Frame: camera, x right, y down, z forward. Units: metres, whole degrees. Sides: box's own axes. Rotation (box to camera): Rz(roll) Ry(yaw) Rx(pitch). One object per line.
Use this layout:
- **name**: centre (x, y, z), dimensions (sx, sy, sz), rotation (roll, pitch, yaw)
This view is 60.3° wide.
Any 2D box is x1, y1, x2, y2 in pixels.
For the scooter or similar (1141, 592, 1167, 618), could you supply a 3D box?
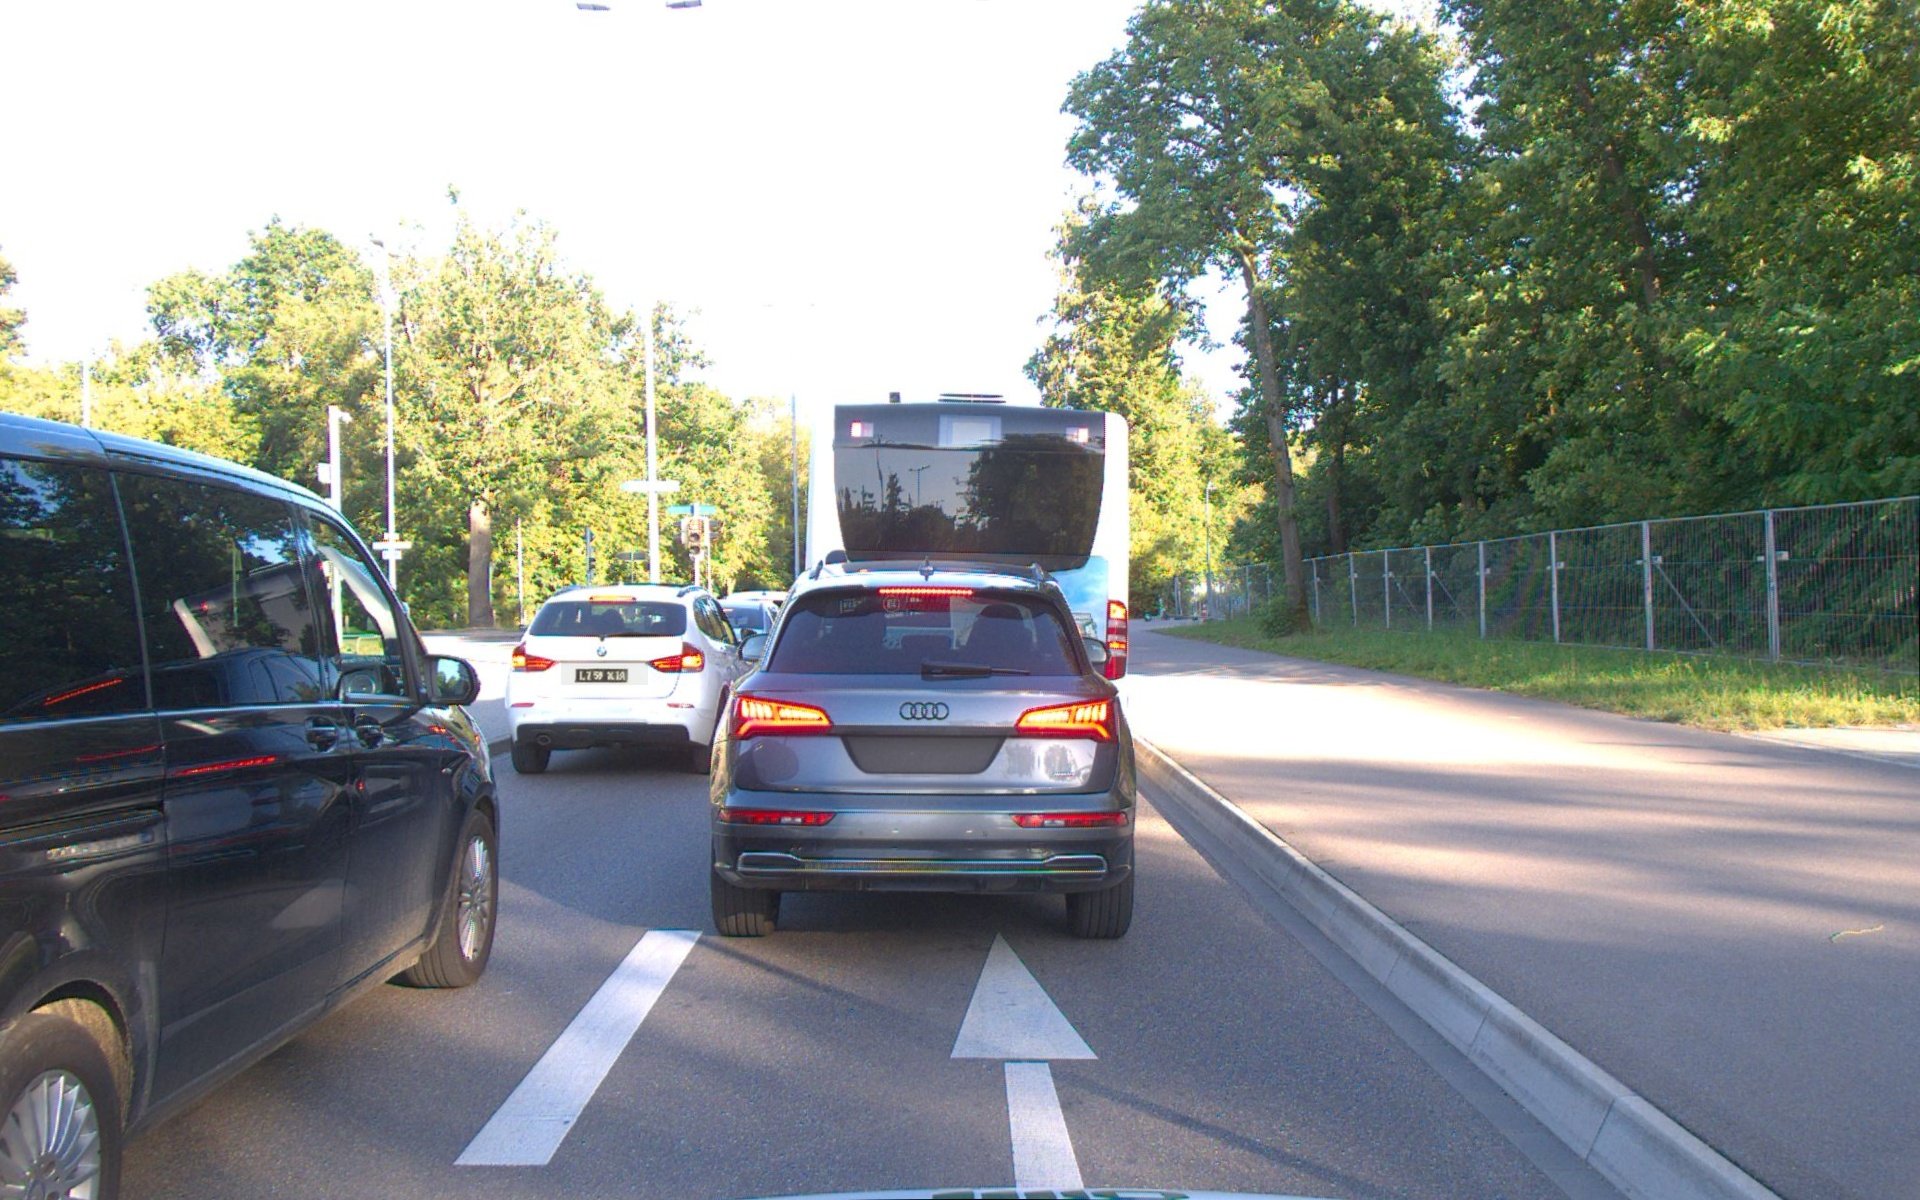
- **scooter or similar**: centre (9.143, 0.245, 78.118), dimensions (1.158, 1.195, 0.659), rotation (1, 0, 11)

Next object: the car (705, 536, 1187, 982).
- **car**: centre (-0.079, 0.588, 8.366), dimensions (1.830, 1.693, 4.000), rotation (1, 1, -1)

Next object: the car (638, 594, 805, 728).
- **car**: centre (-2.950, 0.698, 21.216), dimensions (1.750, 1.469, 4.275), rotation (1, 1, -4)

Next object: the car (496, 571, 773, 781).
- **car**: centre (-2.775, 0.621, 15.058), dimensions (1.683, 1.608, 4.433), rotation (1, -1, -1)

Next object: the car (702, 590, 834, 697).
- **car**: centre (-3.128, 0.659, 27.616), dimensions (1.771, 1.599, 4.000), rotation (1, 1, -1)

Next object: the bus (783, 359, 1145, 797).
- **bus**: centre (0.054, -0.201, 15.172), dimensions (2.623, 3.196, 5.882), rotation (1, 1, 0)

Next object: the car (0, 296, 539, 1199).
- **car**: centre (-2.624, 0.405, 4.413), dimensions (1.869, 1.888, 4.871), rotation (1, 0, -2)
